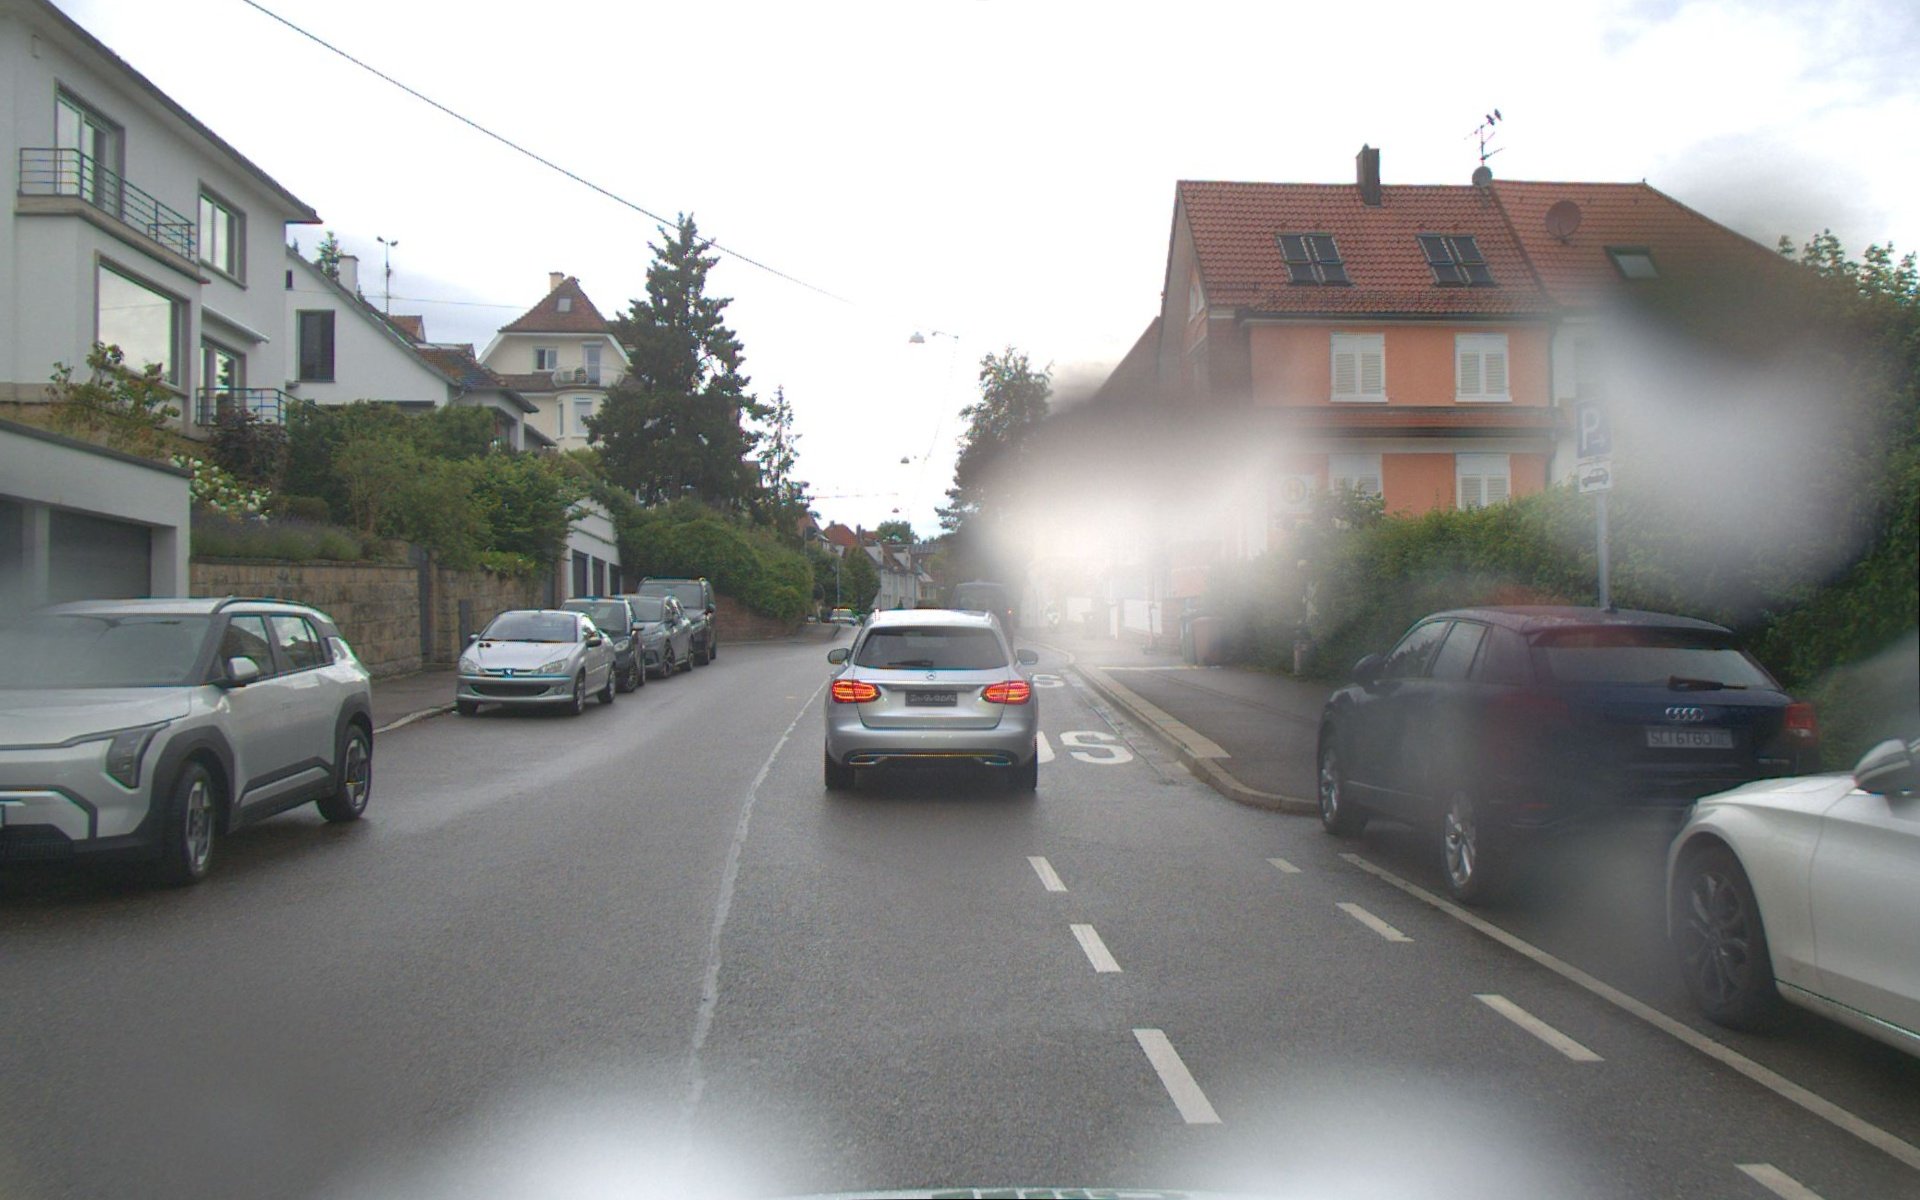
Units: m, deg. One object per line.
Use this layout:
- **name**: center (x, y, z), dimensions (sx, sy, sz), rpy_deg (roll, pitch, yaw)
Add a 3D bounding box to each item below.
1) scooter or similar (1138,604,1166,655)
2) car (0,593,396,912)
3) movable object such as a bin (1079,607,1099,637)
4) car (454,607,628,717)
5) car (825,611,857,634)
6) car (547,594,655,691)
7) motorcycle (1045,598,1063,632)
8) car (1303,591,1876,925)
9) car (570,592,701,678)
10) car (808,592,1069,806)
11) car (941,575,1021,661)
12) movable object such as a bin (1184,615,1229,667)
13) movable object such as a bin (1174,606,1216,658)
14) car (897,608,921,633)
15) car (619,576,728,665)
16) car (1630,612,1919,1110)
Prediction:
- **scooter or similar**: center (4.869, 0.733, 41.966), dimensions (0.678, 1.245, 1.300), rpy_deg (0, 0, 6)
- **car**: center (-5.150, 0.768, 10.436), dimensions (1.860, 1.595, 4.236), rpy_deg (-1, 0, -2)
- **movable object such as a bin**: center (4.198, 0.717, 53.845), dimensions (0.538, 0.952, 0.633), rpy_deg (-3, 0, -2)
- **car**: center (-5.817, 0.814, 23.366), dimensions (1.577, 1.361, 3.839), rpy_deg (0, 0, -2)
- **car**: center (-8.092, 1.526, 112.420), dimensions (2.075, 1.497, 4.014), rpy_deg (0, 0, -3)
- **car**: center (-6.103, 0.681, 28.339), dimensions (1.468, 1.550, 3.155), rpy_deg (0, 0, -6)
- **motorcycle**: center (3.603, 0.565, 63.559), dimensions (0.570, 1.283, 2.331), rpy_deg (-2, 0, 1)
- **car**: center (3.408, 0.752, 9.892), dimensions (1.718, 1.557, 4.204), rpy_deg (1, 0, -2)
- **car**: center (-6.346, 0.635, 32.760), dimensions (1.860, 1.541, 4.340), rpy_deg (1, 0, -2)
- **car**: center (-0.187, 0.736, 14.624), dimensions (1.942, 1.581, 4.297), rpy_deg (1, 0, -1)
- **car**: center (0.518, 0.397, 41.408), dimensions (1.787, 1.915, 4.096), rpy_deg (-4, 1, 0)
- **movable object such as a bin**: center (4.815, 0.792, 32.337), dimensions (0.564, 0.986, 0.662), rpy_deg (1, 0, -34)
- **movable object such as a bin**: center (4.877, 0.654, 34.291), dimensions (0.697, 1.048, 0.757), rpy_deg (-2, 0, -4)
- **car**: center (-5.414, 2.147, 175.476), dimensions (2.417, 2.441, 3.999), rpy_deg (-3, 0, -1)
- **car**: center (-6.591, 0.432, 38.621), dimensions (2.088, 1.892, 5.587), rpy_deg (1, 0, -6)
- **car**: center (3.675, 0.788, 4.474), dimensions (1.679, 1.430, 4.605), rpy_deg (1, 0, -3)
